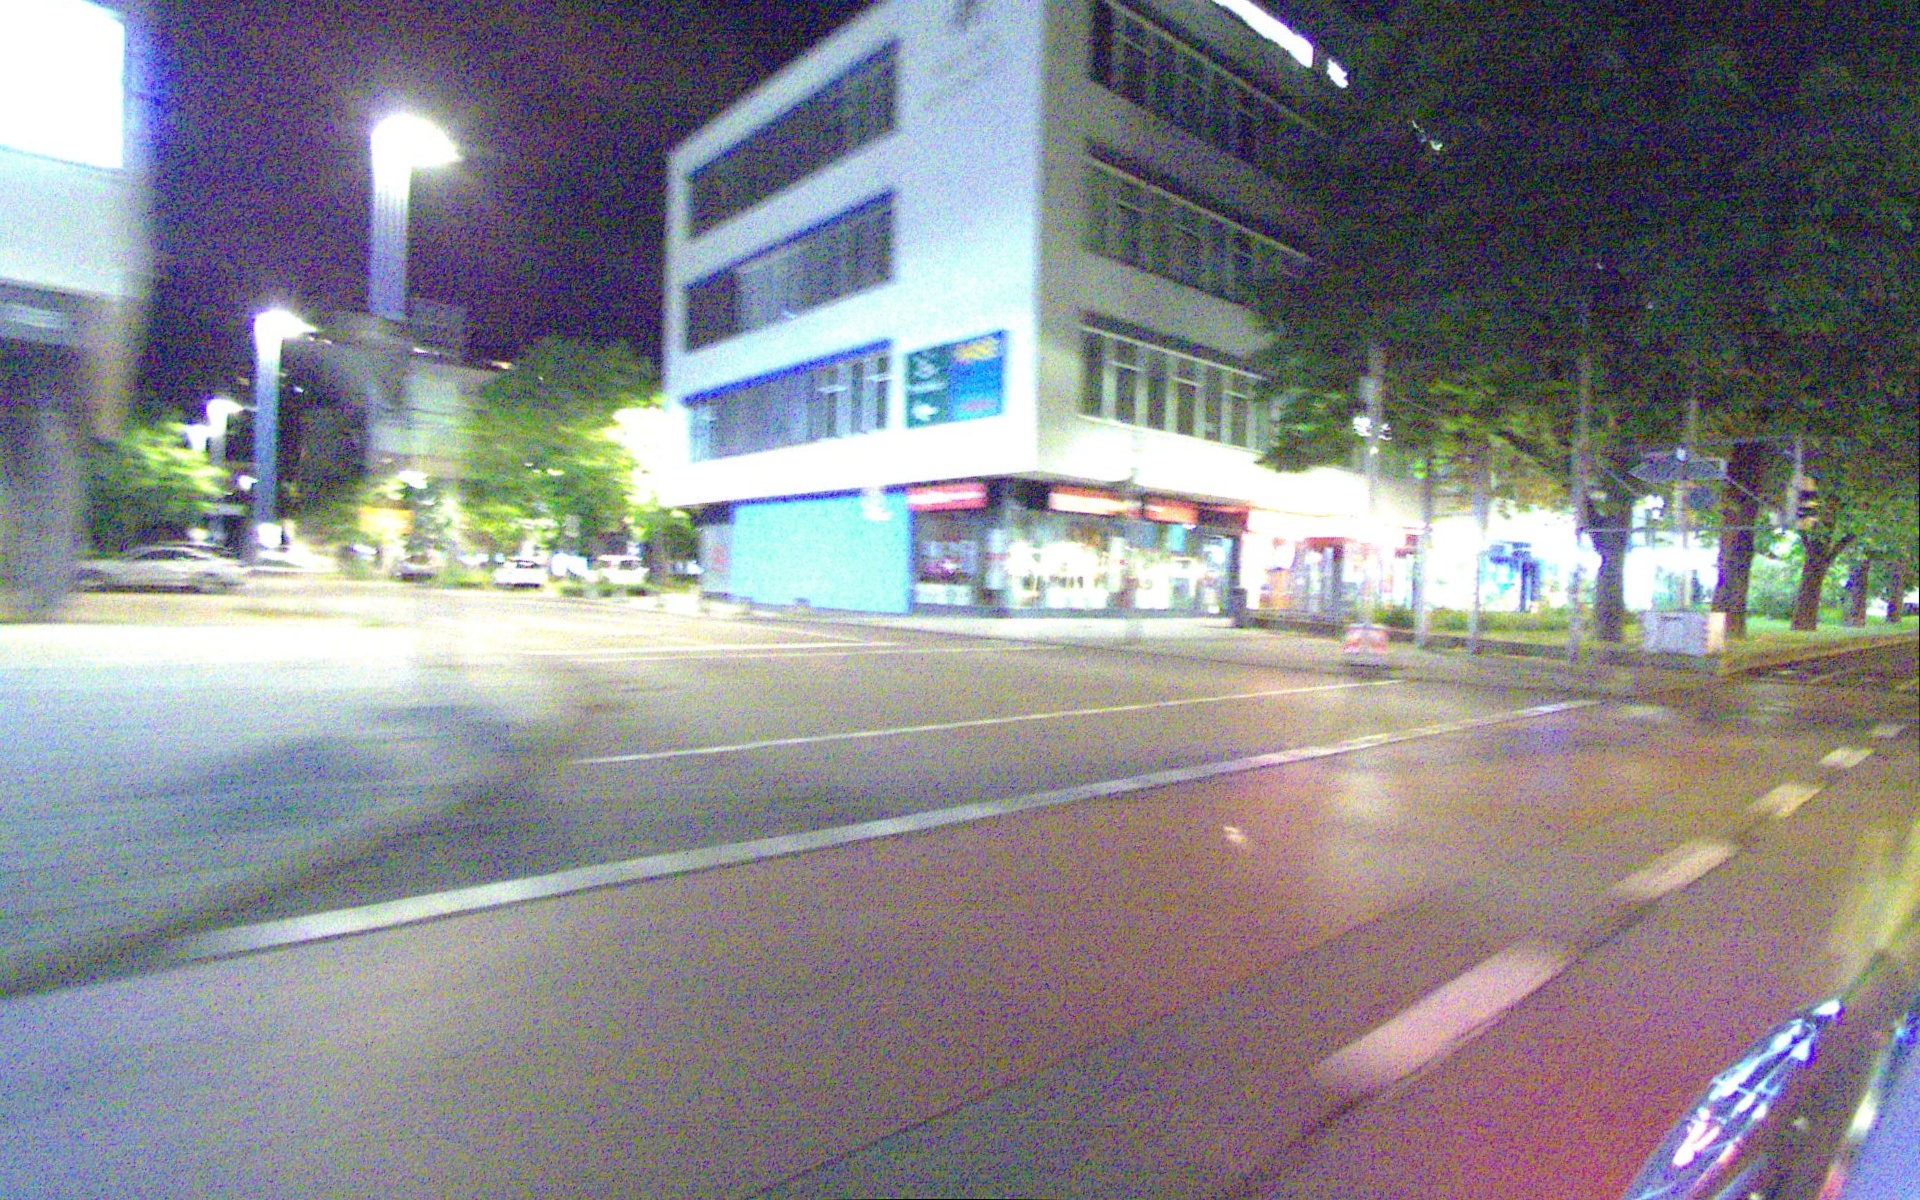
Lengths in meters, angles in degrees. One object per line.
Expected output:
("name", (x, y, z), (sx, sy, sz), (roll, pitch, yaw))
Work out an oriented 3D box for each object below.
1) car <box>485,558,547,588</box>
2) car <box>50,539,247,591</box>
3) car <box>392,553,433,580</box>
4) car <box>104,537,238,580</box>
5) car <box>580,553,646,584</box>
("car", (-21.899, -1.362, 49.808), (1.882, 1.401, 3.998), (0, 2, -37))
("car", (-25.612, -1.070, 32.049), (4.770, 1.490, 1.996), (0, 2, -43))
("car", (-32.636, -2.012, 60.287), (1.960, 1.526, 4.005), (0, 2, -31))
("car", (-30.013, -1.534, 38.549), (3.930, 1.505, 1.997), (0, 0, -41))
("car", (-19.716, -1.785, 57.459), (4.156, 1.680, 1.887), (3, 2, 44))
